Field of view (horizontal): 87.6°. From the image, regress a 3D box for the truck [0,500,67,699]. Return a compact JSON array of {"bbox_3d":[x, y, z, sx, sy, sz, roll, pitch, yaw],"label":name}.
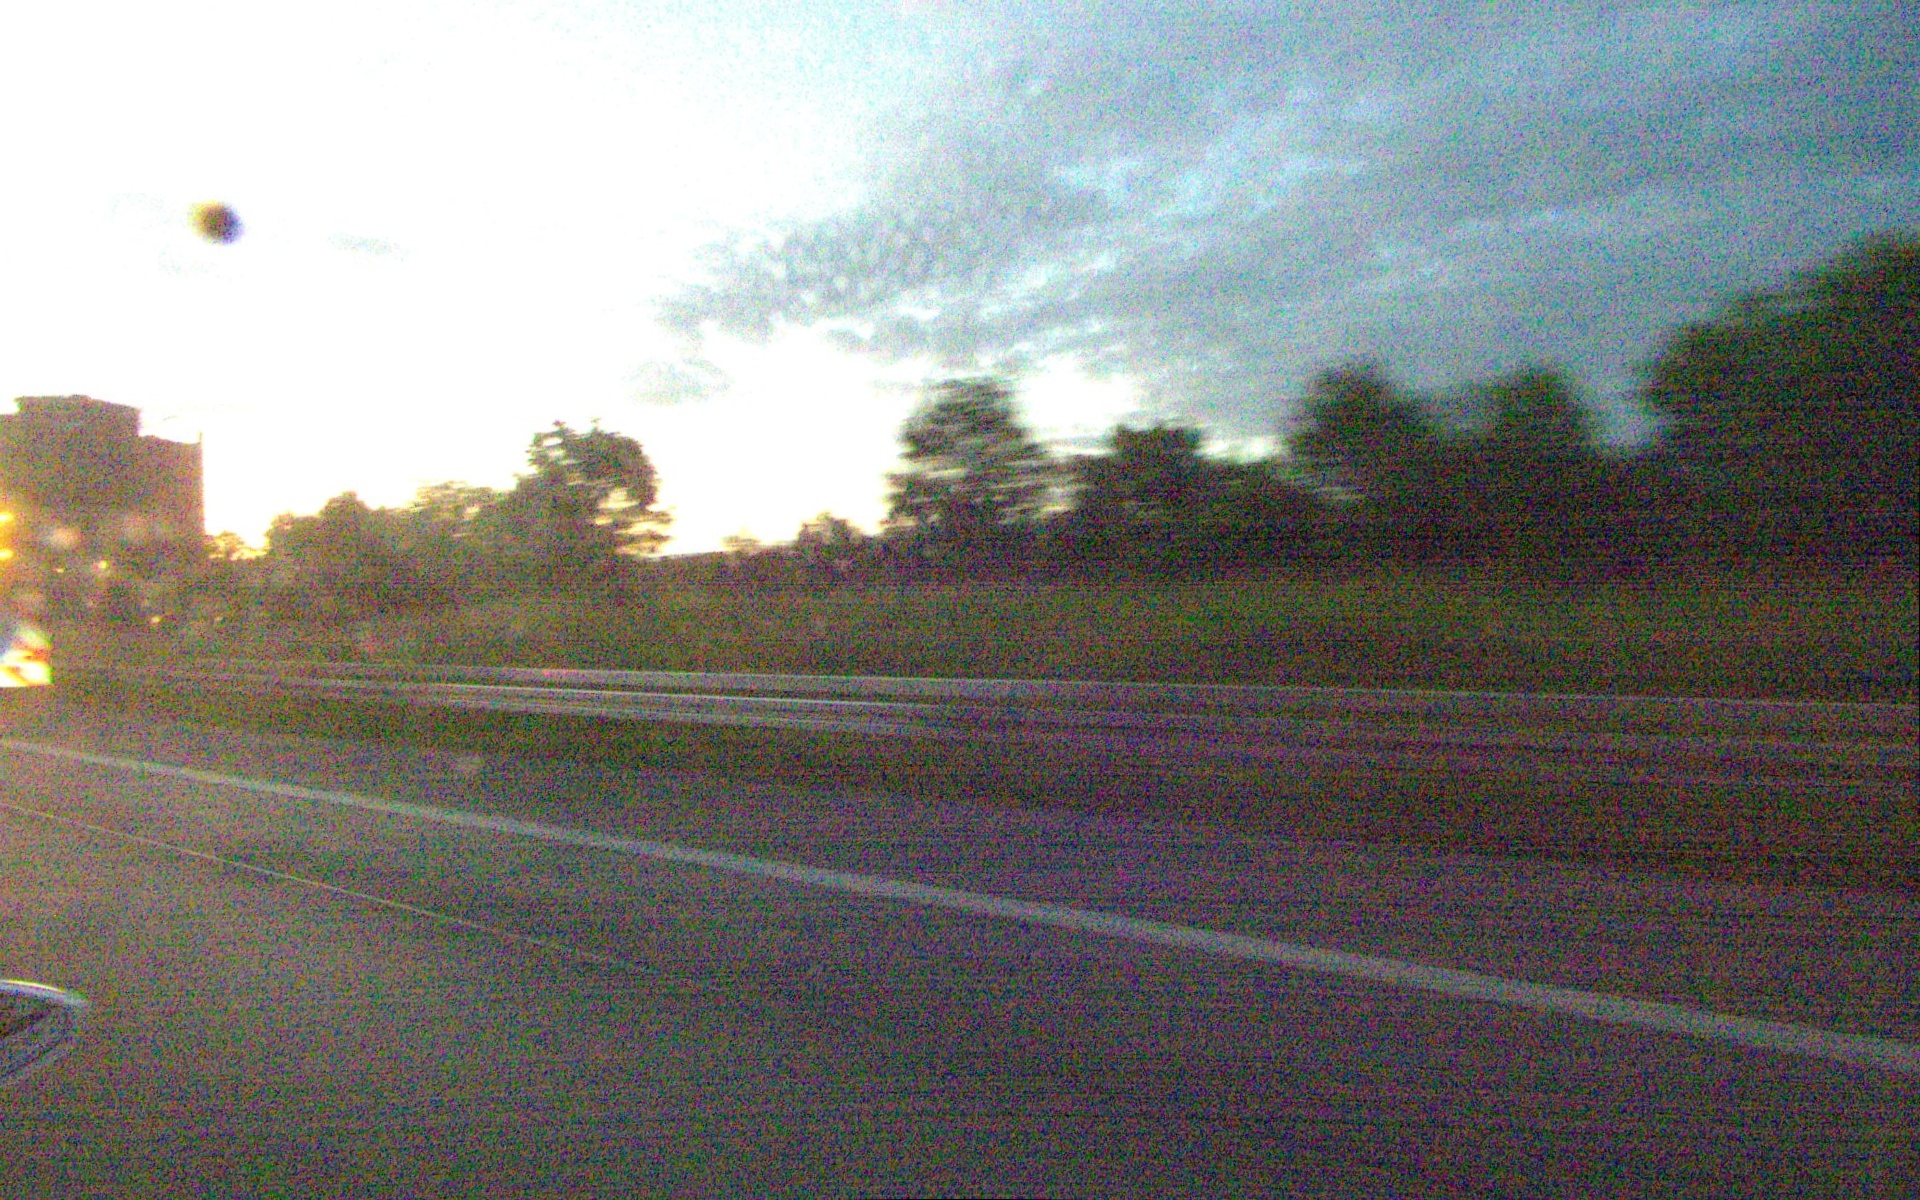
[{"bbox_3d":[-22.695,0.026,22.140,6.320,4.112,2.782,-1,0,32],"label":"truck"}]
